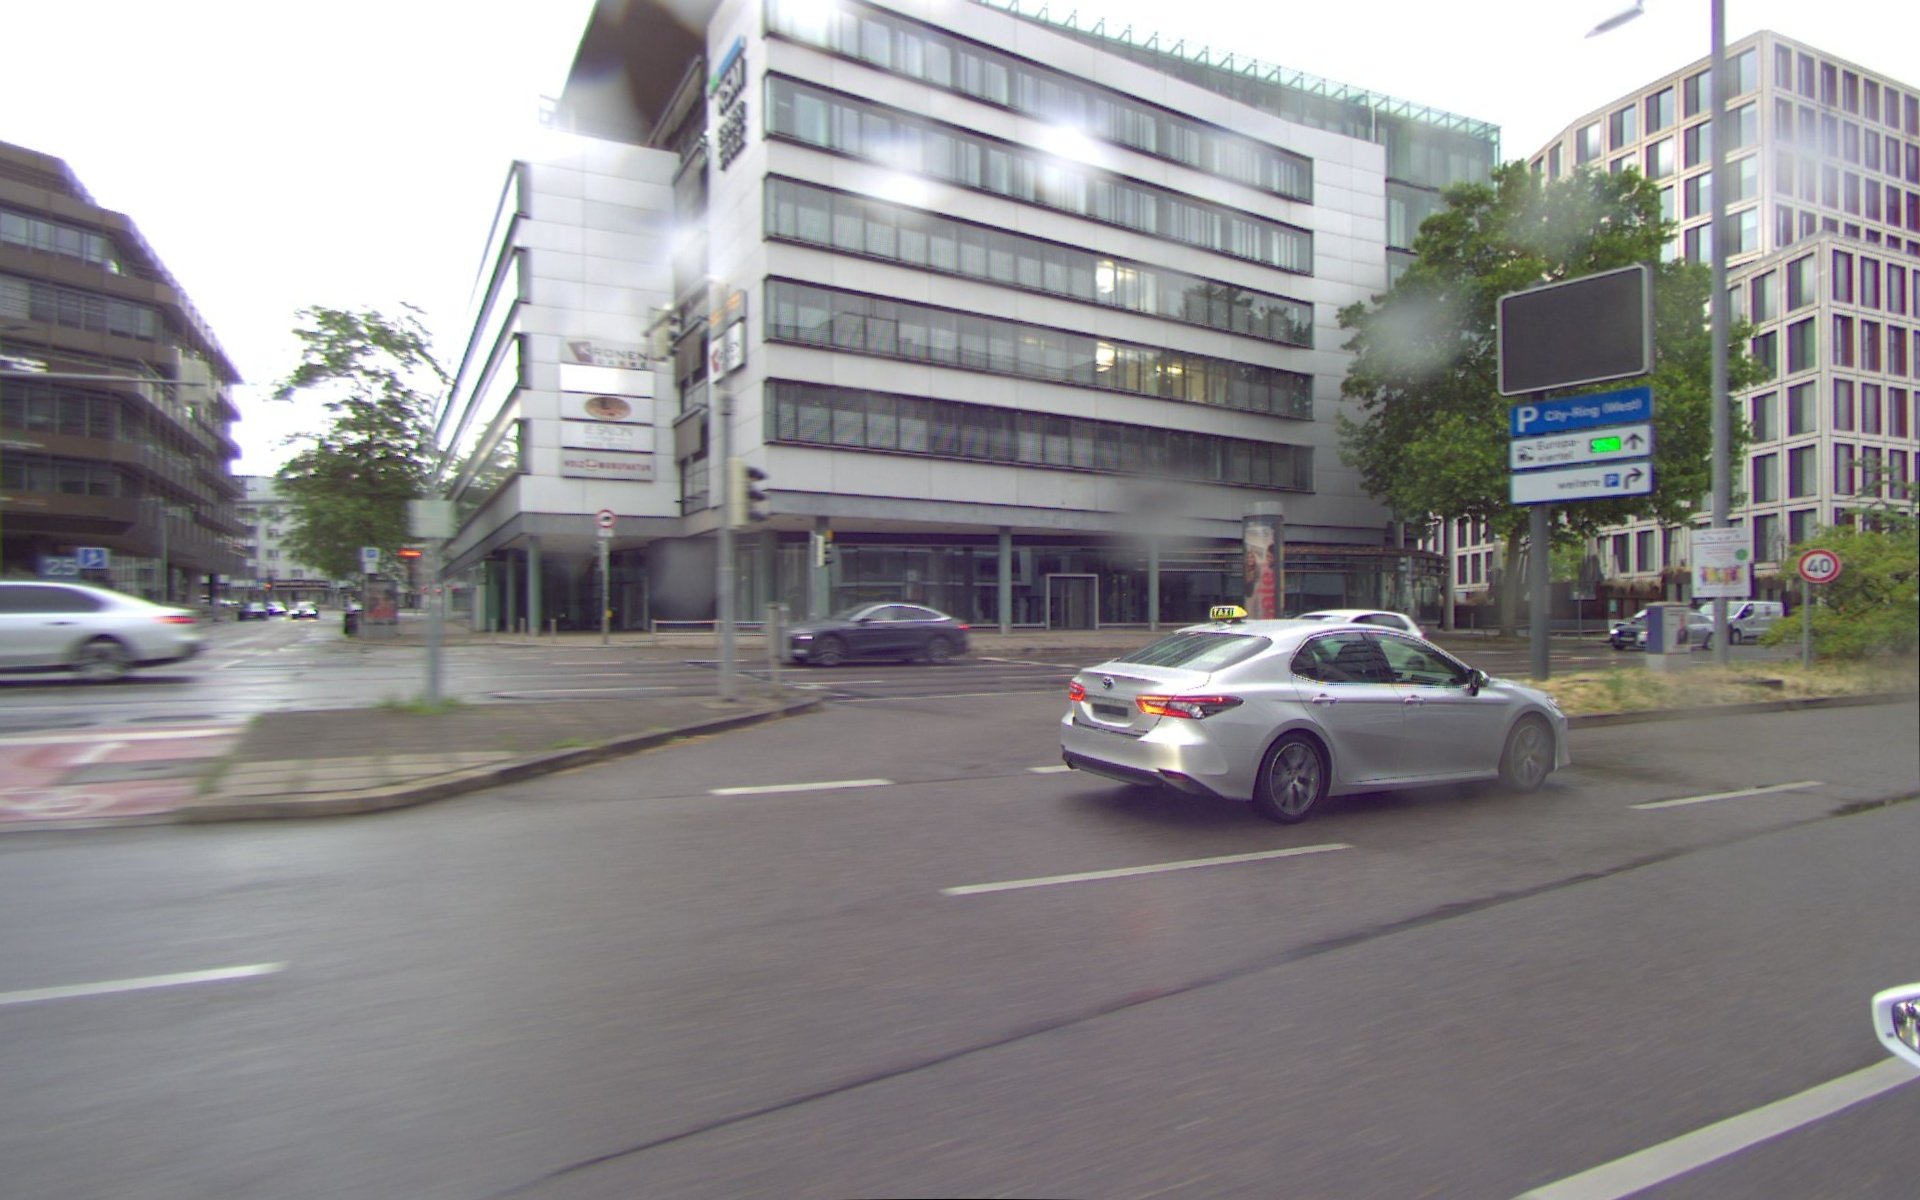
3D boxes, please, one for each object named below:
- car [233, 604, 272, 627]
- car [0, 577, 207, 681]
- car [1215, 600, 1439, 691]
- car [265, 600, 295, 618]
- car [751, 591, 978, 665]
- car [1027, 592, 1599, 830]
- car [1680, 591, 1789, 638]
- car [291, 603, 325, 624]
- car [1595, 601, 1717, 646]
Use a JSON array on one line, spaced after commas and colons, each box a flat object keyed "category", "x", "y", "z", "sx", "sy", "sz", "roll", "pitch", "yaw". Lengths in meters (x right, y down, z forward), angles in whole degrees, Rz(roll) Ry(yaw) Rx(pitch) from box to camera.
[{"category": "car", "x": -56.573, "y": 1.233, "z": 80.381, "sx": 1.975, "sy": 1.662, "sz": 3.970, "roll": 2, "pitch": 0, "yaw": -28}, {"category": "car", "x": -14.840, "y": 0.408, "z": 15.403, "sx": 5.203, "sy": 1.537, "sz": 1.770, "roll": 2, "pitch": 0, "yaw": -37}, {"category": "car", "x": 6.761, "y": 0.811, "z": 18.434, "sx": 3.924, "sy": 1.483, "sz": 1.743, "roll": 2, "pitch": 0, "yaw": -30}, {"category": "car", "x": -67.794, "y": 0.857, "z": 100.173, "sx": 1.975, "sy": 1.662, "sz": 3.970, "roll": 2, "pitch": 0, "yaw": -28}, {"category": "car", "x": -2.238, "y": 0.676, "z": 24.207, "sx": 5.115, "sy": 1.606, "sz": 1.982, "roll": 2, "pitch": 0, "yaw": -34}, {"category": "car", "x": 3.069, "y": 0.786, "z": 8.477, "sx": 4.741, "sy": 1.541, "sz": 1.823, "roll": 2, "pitch": 0, "yaw": -28}, {"category": "car", "x": 35.820, "y": 0.665, "z": 46.433, "sx": 4.850, "sy": 2.040, "sz": 1.987, "roll": 2, "pitch": 0, "yaw": -26}, {"category": "car", "x": -54.162, "y": 1.121, "z": 83.499, "sx": 1.975, "sy": 1.662, "sz": 3.970, "roll": 2, "pitch": 0, "yaw": -28}, {"category": "car", "x": 26.884, "y": 0.865, "z": 38.807, "sx": 4.423, "sy": 1.639, "sz": 1.987, "roll": 0, "pitch": 1, "yaw": -26}]
